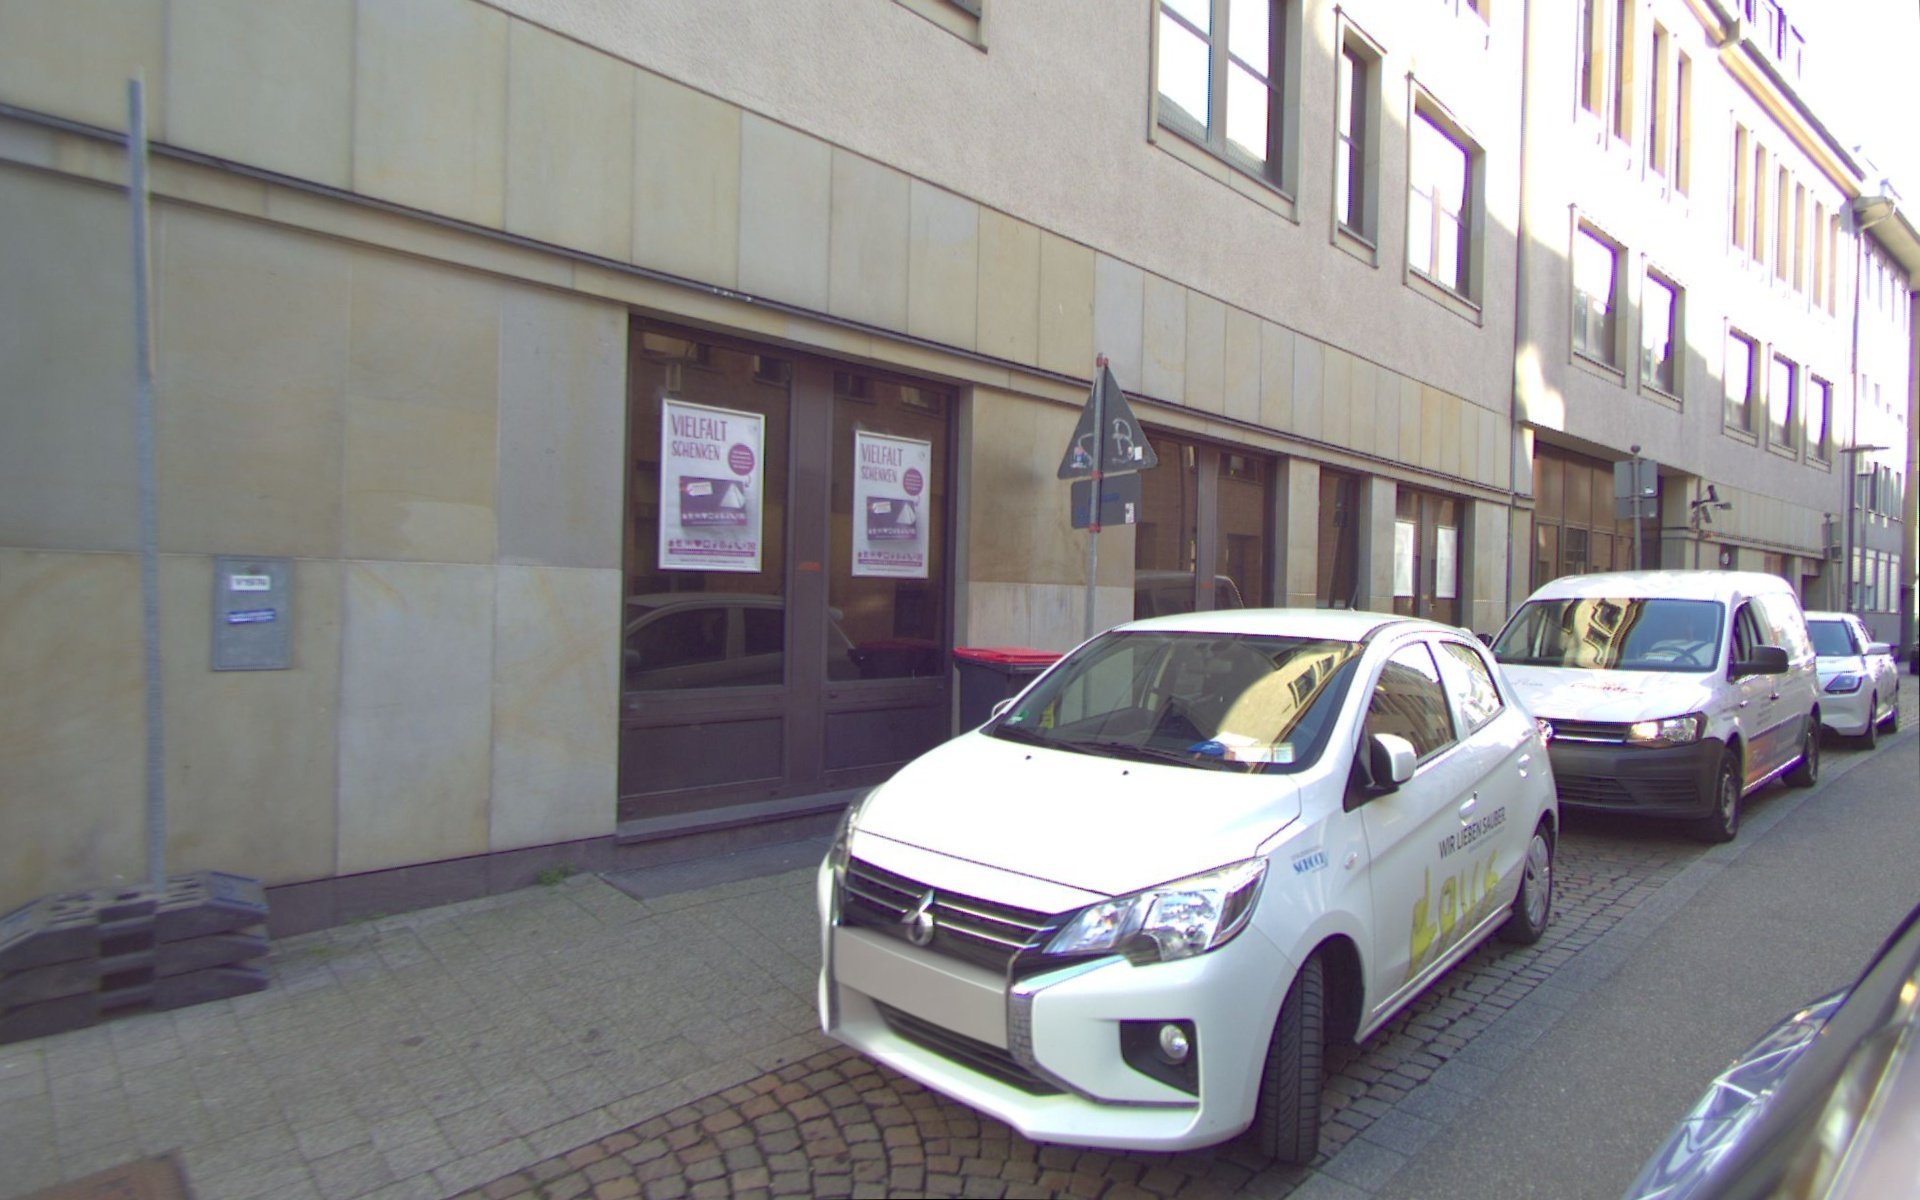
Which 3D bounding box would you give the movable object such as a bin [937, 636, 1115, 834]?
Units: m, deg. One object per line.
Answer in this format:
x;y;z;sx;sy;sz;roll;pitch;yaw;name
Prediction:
0.426;0.797;6.400;0.686;1.100;0.914;1;-1;45;movable object such as a bin

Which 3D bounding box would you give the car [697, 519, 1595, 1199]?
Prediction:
1.132;0.636;4.102;1.730;1.568;3.937;1;0;43;car

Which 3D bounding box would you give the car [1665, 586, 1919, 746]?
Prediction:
10.074;0.718;12.119;3.789;1.604;1.773;1;-3;-42;car

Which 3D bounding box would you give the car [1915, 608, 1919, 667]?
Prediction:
25.590;0.930;25.285;4.120;1.426;1.965;1;-1;-39;car

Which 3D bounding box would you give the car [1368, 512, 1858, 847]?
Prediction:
5.477;0.511;8.147;5.104;1.886;1.945;1;-3;-42;car
